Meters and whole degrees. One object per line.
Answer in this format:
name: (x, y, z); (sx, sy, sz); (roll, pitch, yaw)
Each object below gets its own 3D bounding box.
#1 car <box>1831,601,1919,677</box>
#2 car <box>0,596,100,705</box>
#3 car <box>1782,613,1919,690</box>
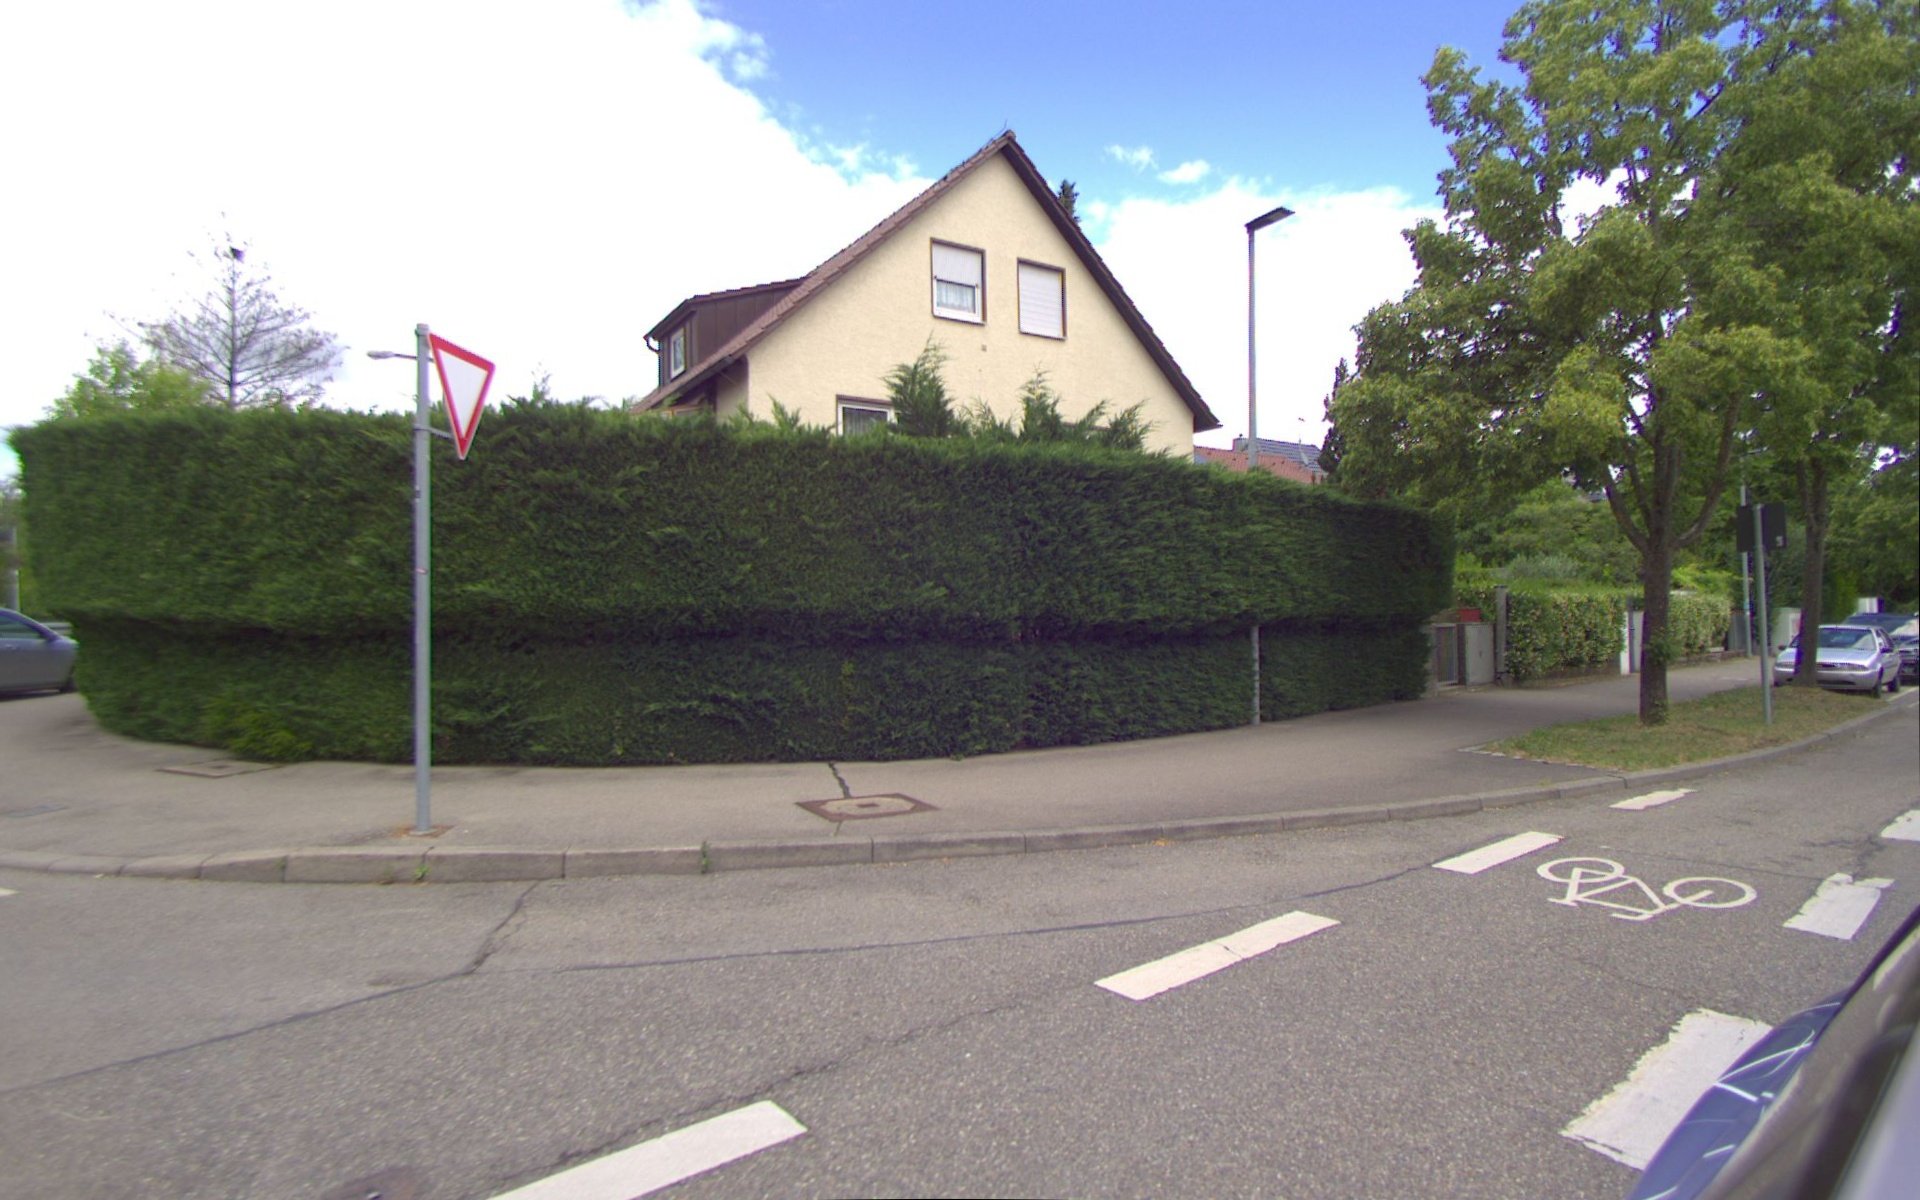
car: (22.306, 0.874, 23.969); (4.465, 1.657, 1.769); (1, -1, -39)
car: (-14.009, 0.693, 13.732); (1.679, 1.462, 3.928); (1, 0, -7)
car: (17.790, 0.959, 20.174); (3.477, 1.368, 1.561); (1, 0, -40)
